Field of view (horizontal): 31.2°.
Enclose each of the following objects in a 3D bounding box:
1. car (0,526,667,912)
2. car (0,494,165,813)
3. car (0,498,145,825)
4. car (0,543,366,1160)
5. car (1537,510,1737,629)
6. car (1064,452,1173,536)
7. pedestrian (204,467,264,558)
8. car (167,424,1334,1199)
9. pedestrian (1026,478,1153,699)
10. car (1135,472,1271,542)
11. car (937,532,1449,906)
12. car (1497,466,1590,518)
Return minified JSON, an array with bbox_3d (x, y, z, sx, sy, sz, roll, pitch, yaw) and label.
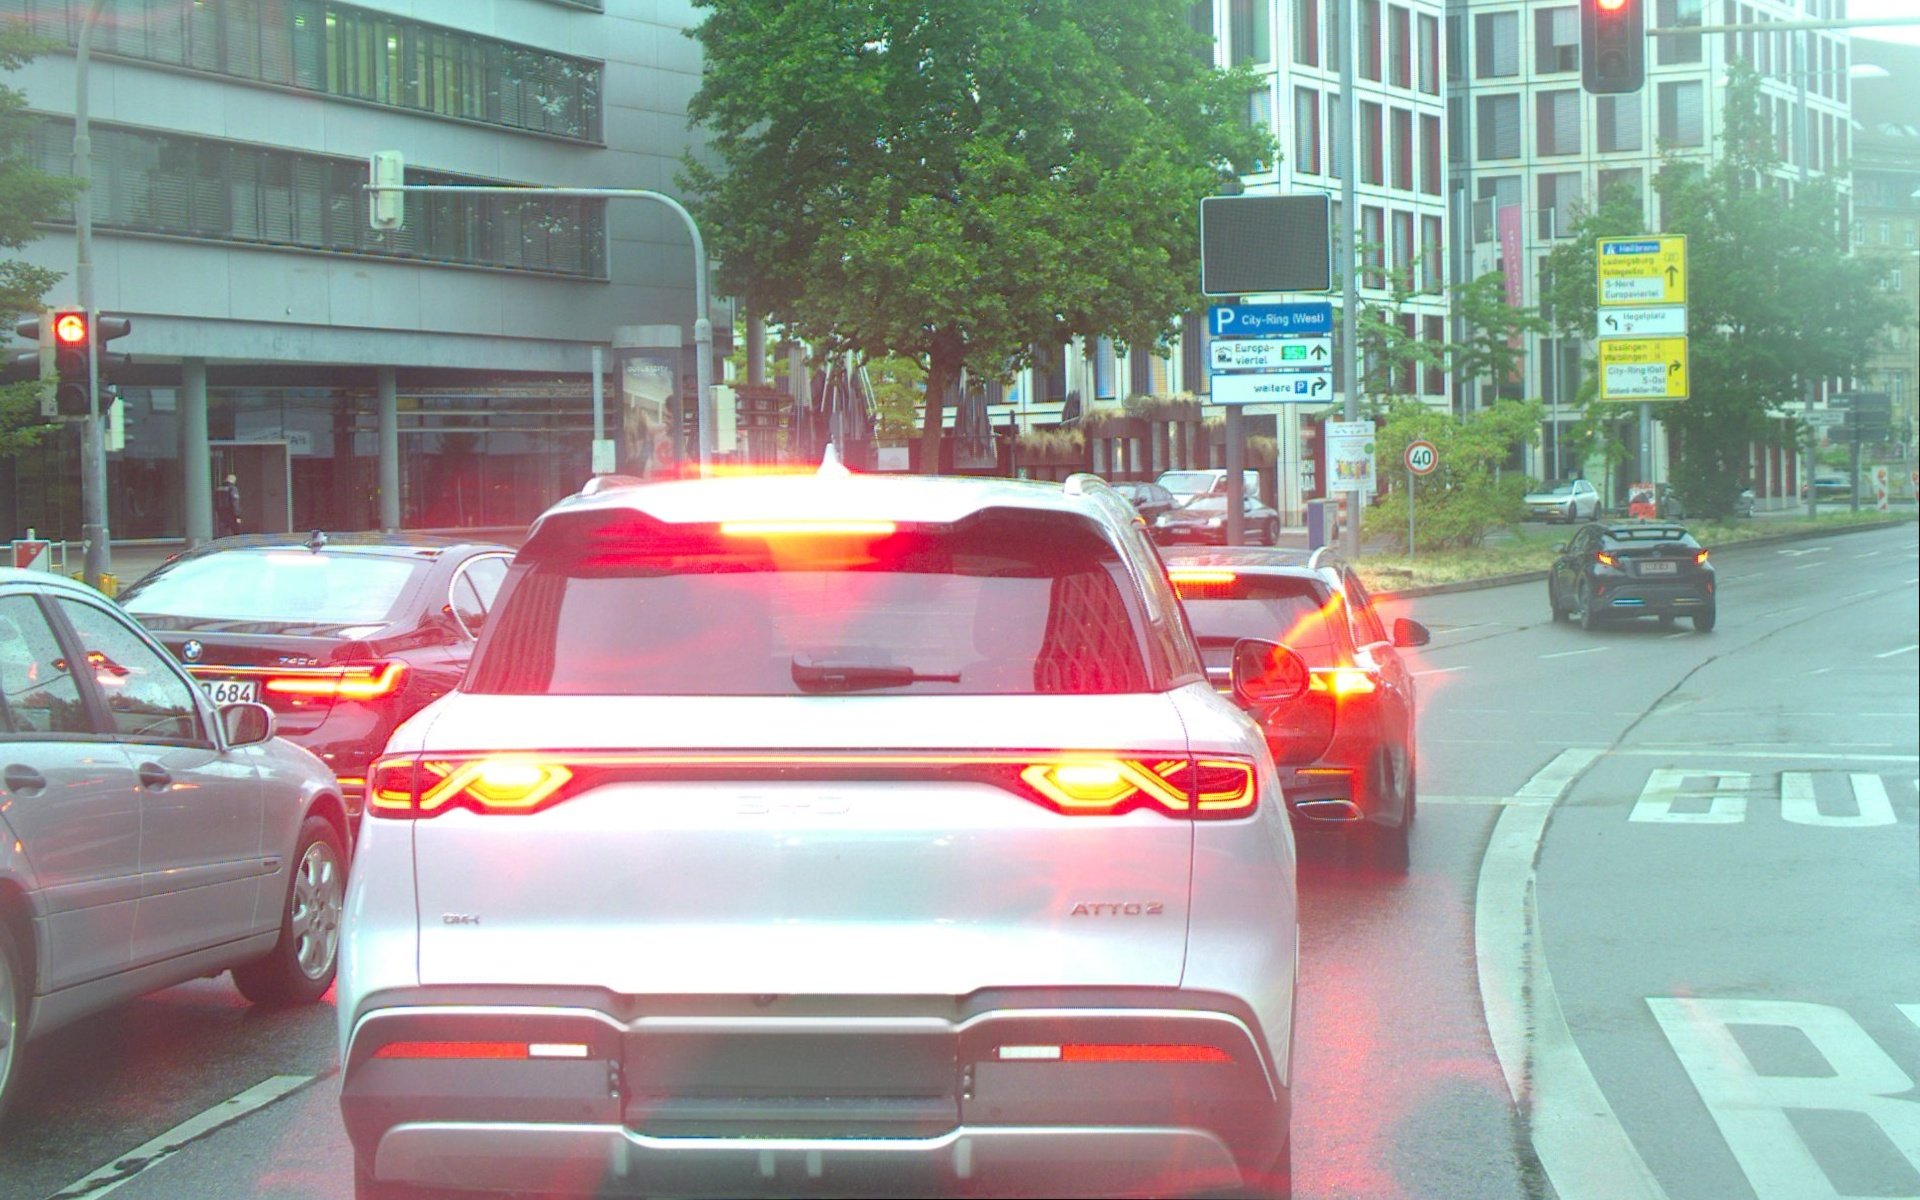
[{"bbox_3d":[-2.838,0.429,15.859,1.956,1.525,3.998,0,1,11],"label":"car"},{"bbox_3d":[-5.733,0.277,16.627,1.785,1.568,4.284,0,1,16],"label":"car"},{"bbox_3d":[-5.660,0.299,16.501,1.886,1.590,3.998,0,1,12],"label":"car"},{"bbox_3d":[-3.070,0.606,9.444,1.682,1.481,4.195,0,1,7],"label":"car"},{"bbox_3d":[9.468,-0.465,48.384,1.993,1.546,4.000,1,2,0],"label":"car"},{"bbox_3d":[4.224,-2.781,90.858,1.739,2.154,4.490,1,1,18],"label":"car"},{"bbox_3d":[-13.800,-1.663,65.349,0.728,1.721,0.924,0,1,22],"label":"pedestrian"},{"bbox_3d":[-0.234,0.496,8.095,1.994,1.703,4.482,0,1,3],"label":"car"},{"bbox_3d":[1.032,-0.100,27.448,0.921,1.732,0.730,0,1,-5],"label":"pedestrian"},{"bbox_3d":[6.304,-2.417,88.788,1.997,1.700,3.994,1,3,29],"label":"car"},{"bbox_3d":[1.237,0.451,16.345,1.956,1.525,3.998,0,1,11],"label":"car"},{"bbox_3d":[20.384,-3.779,119.907,1.996,1.700,4.303,1,3,27],"label":"car"}]
